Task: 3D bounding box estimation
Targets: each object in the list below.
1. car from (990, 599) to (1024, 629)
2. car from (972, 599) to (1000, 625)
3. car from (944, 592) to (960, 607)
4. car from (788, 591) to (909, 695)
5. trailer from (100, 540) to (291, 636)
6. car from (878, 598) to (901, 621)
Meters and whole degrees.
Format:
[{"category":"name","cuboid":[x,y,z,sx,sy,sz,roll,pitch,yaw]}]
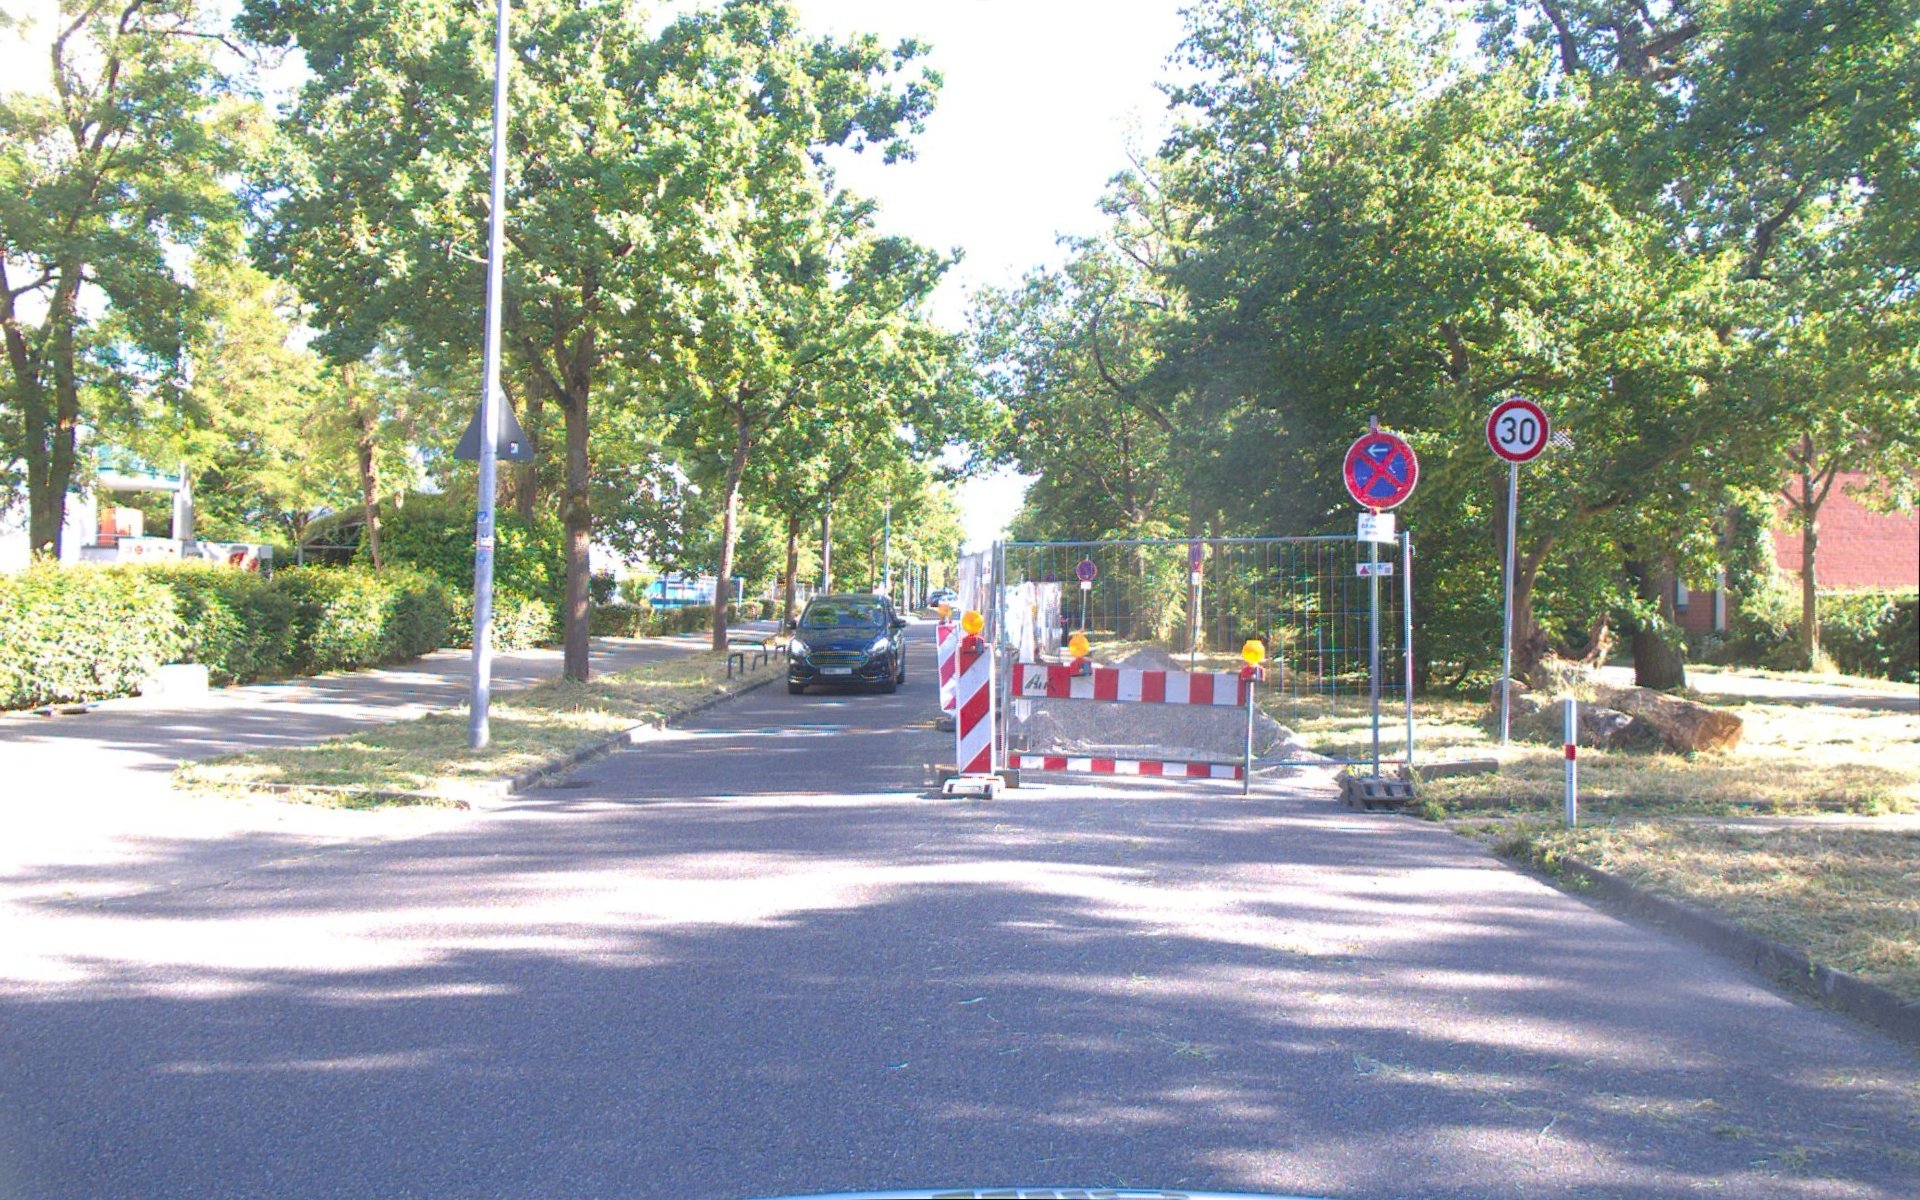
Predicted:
[{"category":"car","cuboid":[2.177,0.682,77.625,1.334,1.325,3.480,2,-1,-2]},{"category":"car","cuboid":[1.407,0.678,90.594,1.334,1.325,3.480,2,-1,-2]},{"category":"car","cuboid":[-0.919,-0.044,195.668,1.676,1.613,3.997,2,-1,-3]},{"category":"car","cuboid":[-1.873,0.700,29.077,1.784,1.653,4.492,-1,0,0]},{"category":"trailer","cuboid":[-17.720,-0.264,38.597,1.934,2.078,4.433,1,0,7]},{"category":"car","cuboid":[-4.379,0.613,103.156,1.334,1.325,3.480,2,-1,-2]}]
